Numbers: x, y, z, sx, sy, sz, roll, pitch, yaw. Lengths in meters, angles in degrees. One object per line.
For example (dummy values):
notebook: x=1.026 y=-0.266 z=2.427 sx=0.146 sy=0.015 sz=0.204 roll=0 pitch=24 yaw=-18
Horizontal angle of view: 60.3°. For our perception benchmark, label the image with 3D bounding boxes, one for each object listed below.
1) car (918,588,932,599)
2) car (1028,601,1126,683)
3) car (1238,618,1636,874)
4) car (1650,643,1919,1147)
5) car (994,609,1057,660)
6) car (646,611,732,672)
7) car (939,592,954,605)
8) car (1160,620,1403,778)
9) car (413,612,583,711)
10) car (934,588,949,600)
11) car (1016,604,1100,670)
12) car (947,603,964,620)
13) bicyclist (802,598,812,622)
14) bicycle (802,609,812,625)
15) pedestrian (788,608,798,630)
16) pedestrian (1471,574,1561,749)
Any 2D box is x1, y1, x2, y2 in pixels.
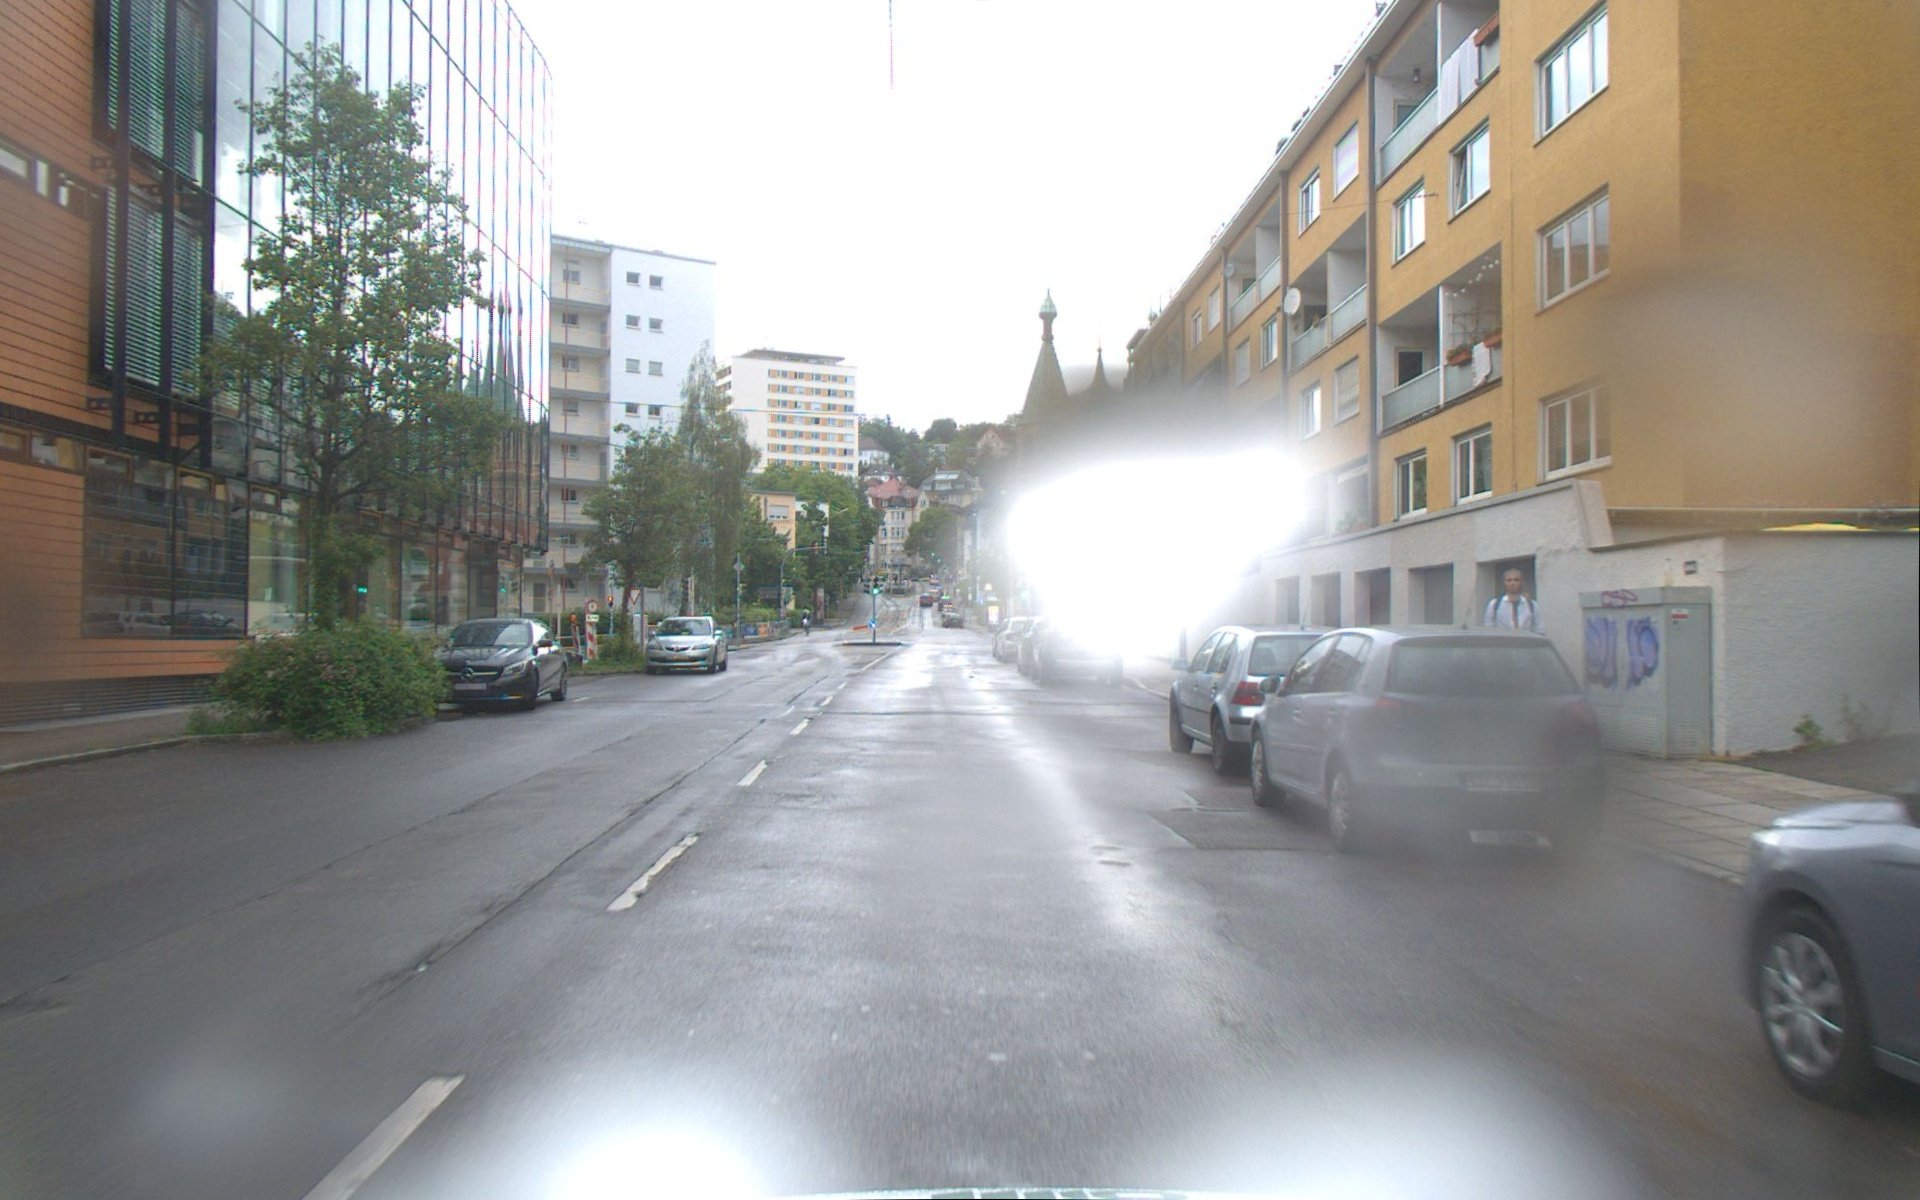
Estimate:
car: x=-5.041 y=-0.947 z=237.384 sx=1.870 sy=1.536 sz=3.999 roll=1 pitch=0 yaw=-2
car: x=2.601 y=0.901 z=37.589 sx=1.781 sy=1.681 sz=4.074 roll=2 pitch=0 yaw=-2
car: x=3.254 y=0.912 z=12.085 sx=1.630 sy=1.528 sz=3.919 roll=0 pitch=0 yaw=-3
car: x=3.631 y=0.862 z=4.495 sx=1.631 sy=1.446 sz=3.917 roll=0 pitch=-1 yaw=-5
car: x=2.146 y=1.133 z=55.185 sx=1.781 sy=1.549 sz=4.074 roll=2 pitch=0 yaw=-2
car: x=-6.972 y=1.028 z=42.817 sx=1.675 sy=1.476 sz=4.292 roll=-1 pitch=0 yaw=-2
car: x=-1.730 y=-0.155 z=208.953 sx=1.854 sy=1.536 sz=3.999 roll=2 pitch=0 yaw=-2
car: x=3.238 y=0.947 z=17.366 sx=1.630 sy=1.424 sz=3.919 roll=0 pitch=0 yaw=-3
car: x=-7.562 y=0.949 z=27.518 sx=1.767 sy=1.476 sz=4.654 roll=-1 pitch=0 yaw=-4
car: x=-2.529 y=-0.840 z=224.840 sx=1.870 sy=1.536 sz=3.999 roll=2 pitch=0 yaw=-2
car: x=2.498 y=0.914 z=42.909 sx=1.781 sy=1.549 sz=4.074 roll=2 pitch=0 yaw=-2
car: x=-0.429 y=1.156 z=172.103 sx=1.696 sy=1.682 sz=4.001 roll=0 pitch=0 yaw=1
bicyclist: x=-10.931 y=0.703 z=118.029 sx=0.663 sy=1.690 sz=0.649 roll=0 pitch=-1 yaw=-5
bicycle: x=-10.935 y=1.188 z=118.025 sx=0.663 sy=1.127 sz=1.798 roll=0 pitch=0 yaw=-4
pedestrian: x=-15.369 y=1.746 z=152.091 sx=0.870 sy=1.926 sz=0.921 roll=0 pitch=0 yaw=-7
pedestrian: x=5.848 y=0.633 z=17.426 sx=0.749 sy=1.762 sz=0.745 roll=-2 pitch=2 yaw=10
